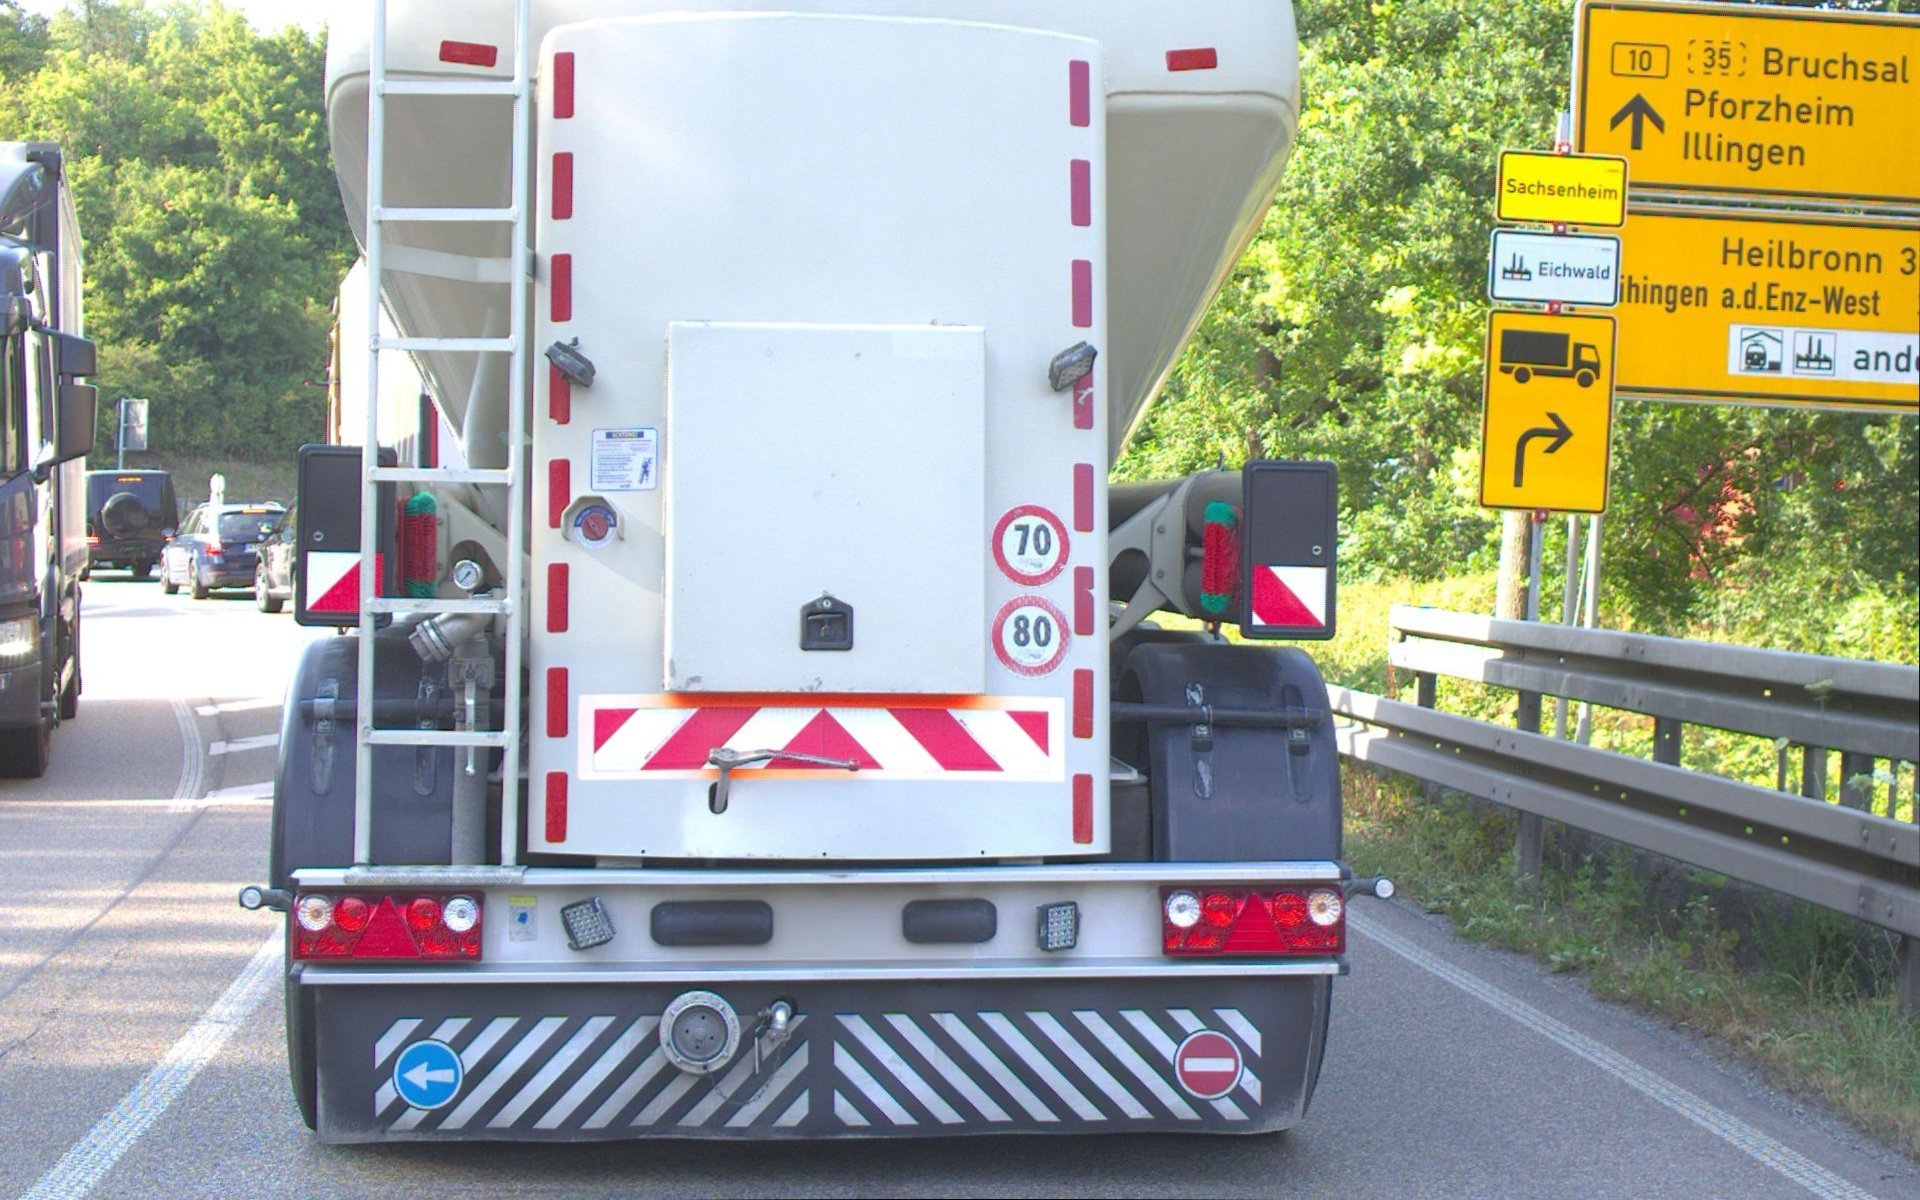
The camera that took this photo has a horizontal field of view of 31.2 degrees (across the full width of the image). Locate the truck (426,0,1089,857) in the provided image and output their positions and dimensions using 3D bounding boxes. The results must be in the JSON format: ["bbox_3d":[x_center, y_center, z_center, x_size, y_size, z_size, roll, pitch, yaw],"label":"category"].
[{"bbox_3d":[-1.228,-0.959,17.829,2.823,4.021,5.896,1,1,-7],"label":"truck"}]

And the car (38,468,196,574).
[{"bbox_3d":[-15.354,-1.471,62.488,1.956,1.845,4.001,-1,2,-26],"label":"car"}]

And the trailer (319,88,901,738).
[{"bbox_3d":[-3.641,-1.422,30.822,3.544,4.497,12.988,2,1,-13],"label":"trailer"}]

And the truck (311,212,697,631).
[{"bbox_3d":[-5.133,-1.878,37.500,3.449,4.072,6.493,1,2,-13],"label":"truck"}]

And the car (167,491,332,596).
[{"bbox_3d":[-11.156,-0.909,53.800,1.867,1.559,4.001,-1,2,-21],"label":"car"}]

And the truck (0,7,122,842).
[{"bbox_3d":[-7.428,-1.073,23.546,3.011,4.569,10.244,1,1,-15],"label":"truck"}]

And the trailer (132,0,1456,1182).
[{"bbox_3d":[-0.725,-1.019,12.380,2.886,4.439,9.607,1,1,-5],"label":"trailer"}]

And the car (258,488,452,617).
[{"bbox_3d":[-8.127,-0.677,45.946,1.867,1.622,4.001,-1,2,-20],"label":"car"}]
